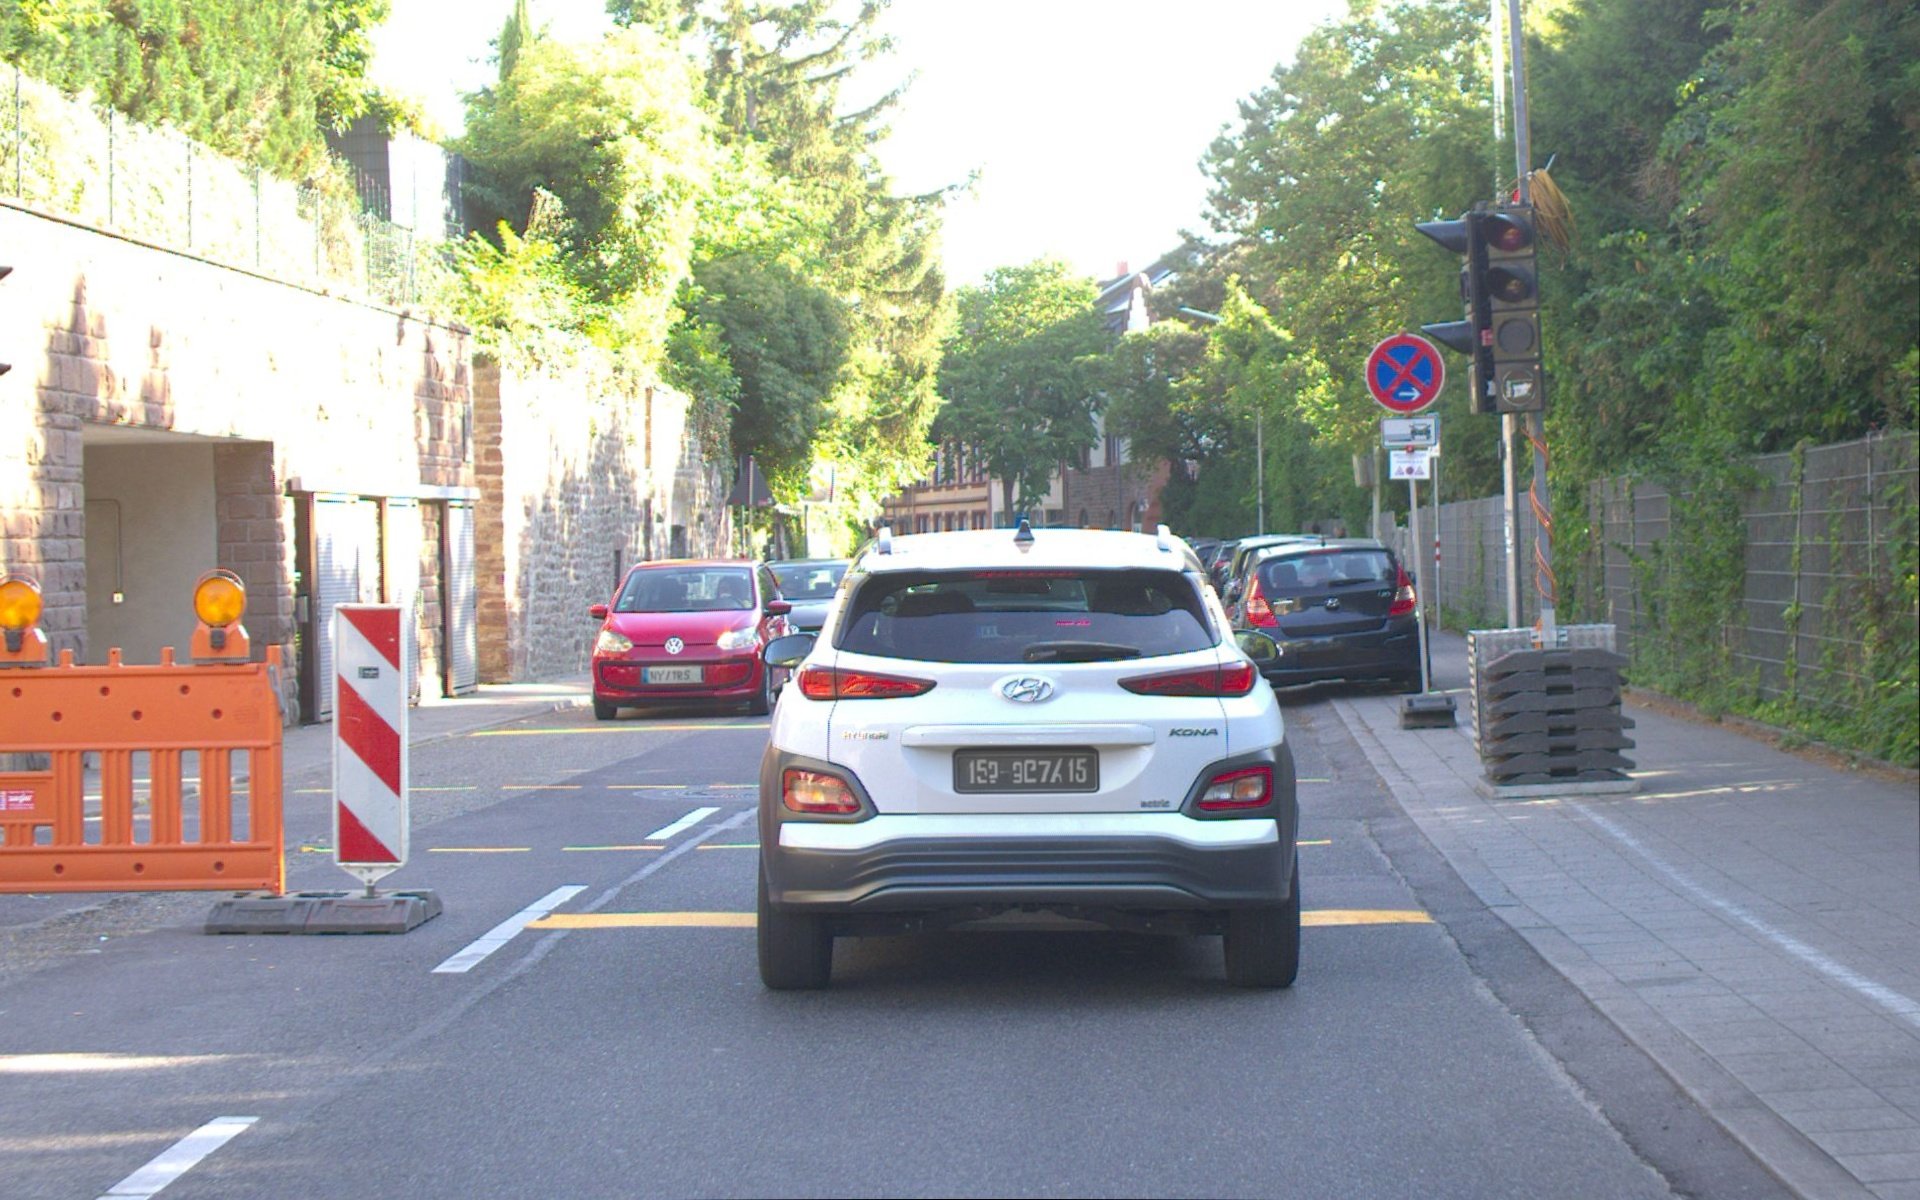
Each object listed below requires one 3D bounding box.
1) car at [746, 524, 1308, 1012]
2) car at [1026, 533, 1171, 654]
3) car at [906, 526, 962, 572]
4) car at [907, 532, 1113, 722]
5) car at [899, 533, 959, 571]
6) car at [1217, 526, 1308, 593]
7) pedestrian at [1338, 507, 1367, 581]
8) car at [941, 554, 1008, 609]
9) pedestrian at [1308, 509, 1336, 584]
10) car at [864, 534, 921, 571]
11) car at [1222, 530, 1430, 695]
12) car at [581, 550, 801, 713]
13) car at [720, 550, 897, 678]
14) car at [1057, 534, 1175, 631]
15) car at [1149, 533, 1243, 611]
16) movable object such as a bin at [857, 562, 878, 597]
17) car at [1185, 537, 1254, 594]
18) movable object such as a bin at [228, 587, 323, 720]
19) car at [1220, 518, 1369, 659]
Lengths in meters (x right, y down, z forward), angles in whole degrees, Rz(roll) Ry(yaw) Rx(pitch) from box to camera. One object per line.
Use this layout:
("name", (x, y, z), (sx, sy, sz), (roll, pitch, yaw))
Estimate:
("car", (0.253, 0.493, 12.854), (1.772, 1.537, 4.000), (0, 1, 1))
("car", (1.792, -0.113, 43.717), (1.571, 1.472, 3.547), (0, 1, 7))
("car", (-0.944, -1.807, 122.603), (1.741, 1.469, 4.000), (-5, 0, -2))
("car", (0.489, 0.190, 30.113), (1.512, 1.528, 3.547), (-1, 1, 5))
("car", (-1.357, -2.076, 148.682), (1.755, 1.611, 4.001), (0, 1, -13))
("car", (7.635, -1.006, 86.996), (1.593, 1.560, 4.001), (-3, 0, -4))
("pedestrian", (8.480, -1.205, 74.286), (0.503, 1.564, 0.503), (-3, 0, 5))
("car", (0.430, -0.542, 97.630), (1.550, 1.461, 3.568), (-3, 1, 5))
("pedestrian", (7.852, -1.162, 74.635), (0.503, 1.601, 0.491), (-3, 0, 5))
("car", (-3.025, -2.117, 153.872), (1.755, 1.611, 4.001), (0, 1, -13))
("car", (3.440, 0.074, 32.913), (1.794, 1.436, 4.000), (-1, 1, 4))
("car", (-2.505, 0.261, 32.689), (1.627, 1.417, 3.563), (-2, 1, 2))
("car", (-1.756, 0.132, 40.905), (1.649, 1.406, 3.930), (-2, 1, 4))
("car", (2.678, -0.307, 58.439), (1.694, 1.528, 3.880), (2, 1, 6))
("car", (5.089, -0.627, 73.744), (1.694, 1.442, 3.881), (-4, 2, 8))
("movable object such as a bin", (-2.694, -0.590, 100.199), (0.495, 1.008, 1.112), (0, 0, 4))
("car", (7.362, -1.002, 97.803), (1.593, 1.484, 3.602), (-4, 1, 0))
("movable object such as a bin", (-6.219, 0.478, 31.243), (0.658, 1.171, 0.665), (-2, 1, 5))
("car", (4.208, -0.151, 43.092), (1.653, 1.559, 2.872), (-6, 0, 6))
